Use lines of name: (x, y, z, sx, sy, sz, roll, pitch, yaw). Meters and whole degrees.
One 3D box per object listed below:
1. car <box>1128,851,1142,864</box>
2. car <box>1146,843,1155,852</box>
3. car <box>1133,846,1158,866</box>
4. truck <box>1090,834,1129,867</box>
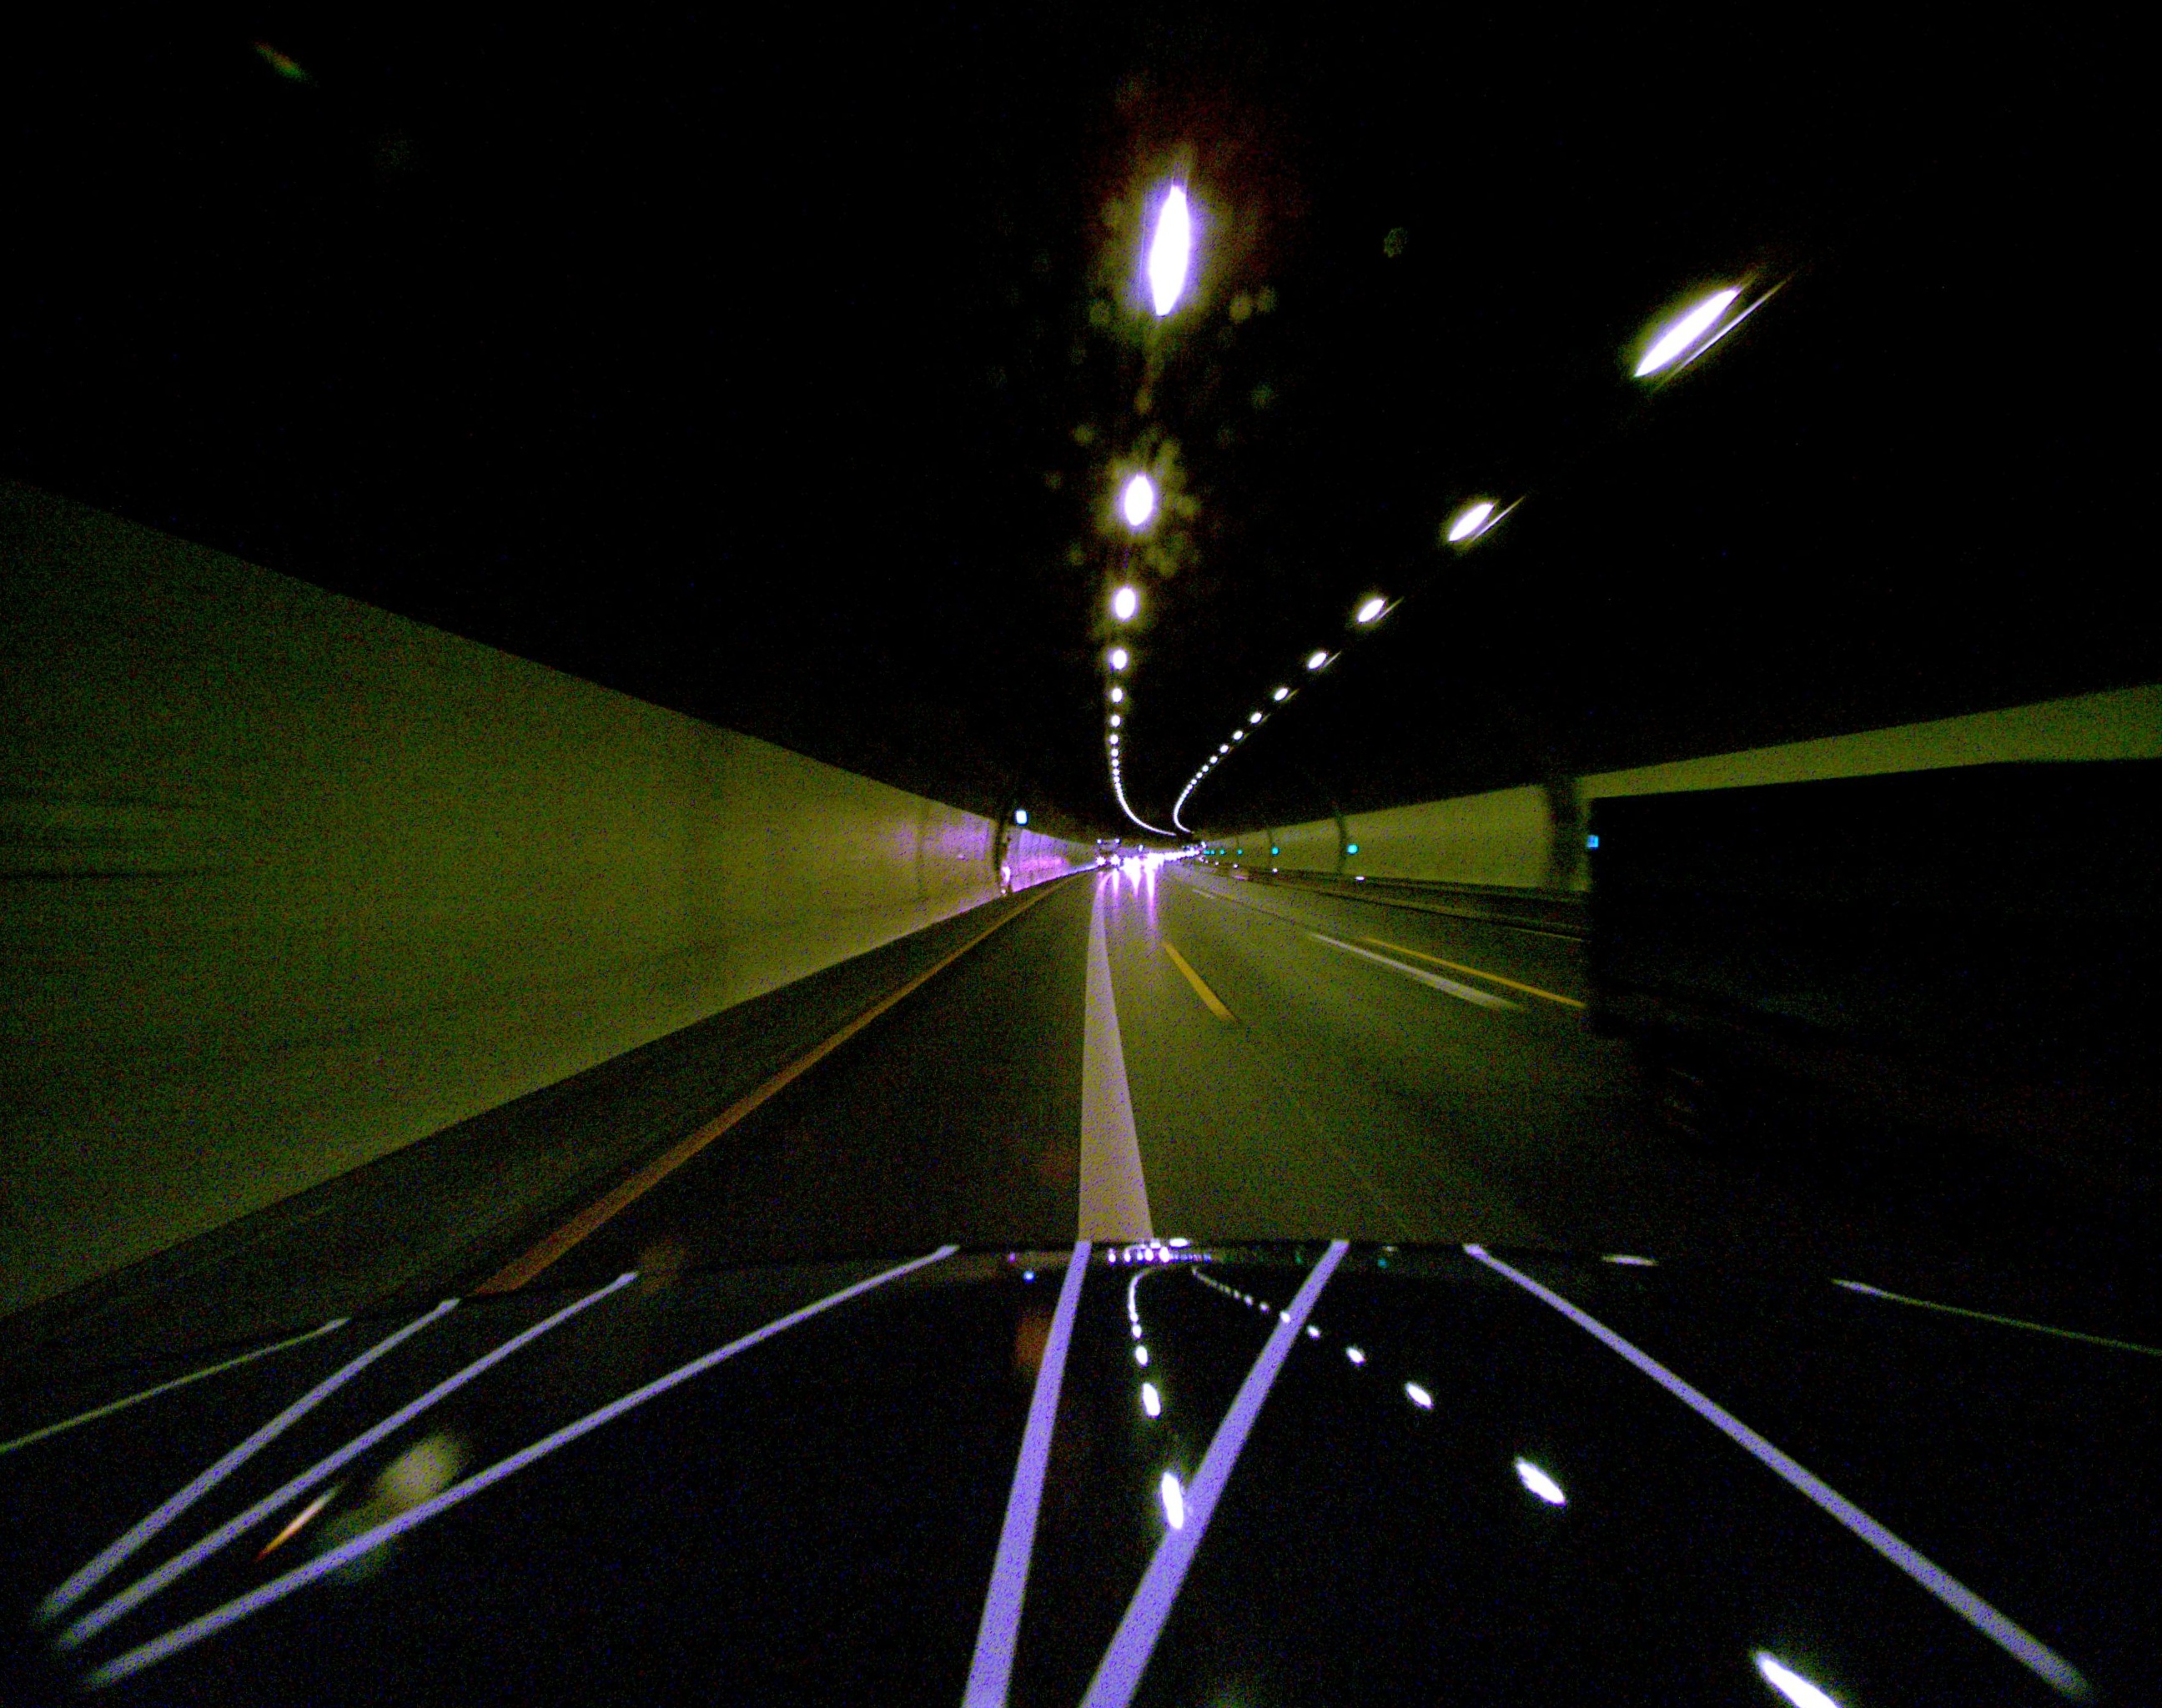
car: (9.351, 0.607, 131.487, 1.997, 2.002, 4.002, -3, 0, 8)
car: (16.296, -1.549, 178.080, 1.997, 1.917, 4.387, -3, 0, 8)
car: (6.095, 0.179, 71.931, 2.171, 1.709, 4.482, -3, 0, 5)
truck: (3.219, -0.380, 81.434, 2.987, 3.161, 10.513, -3, 0, 8)
